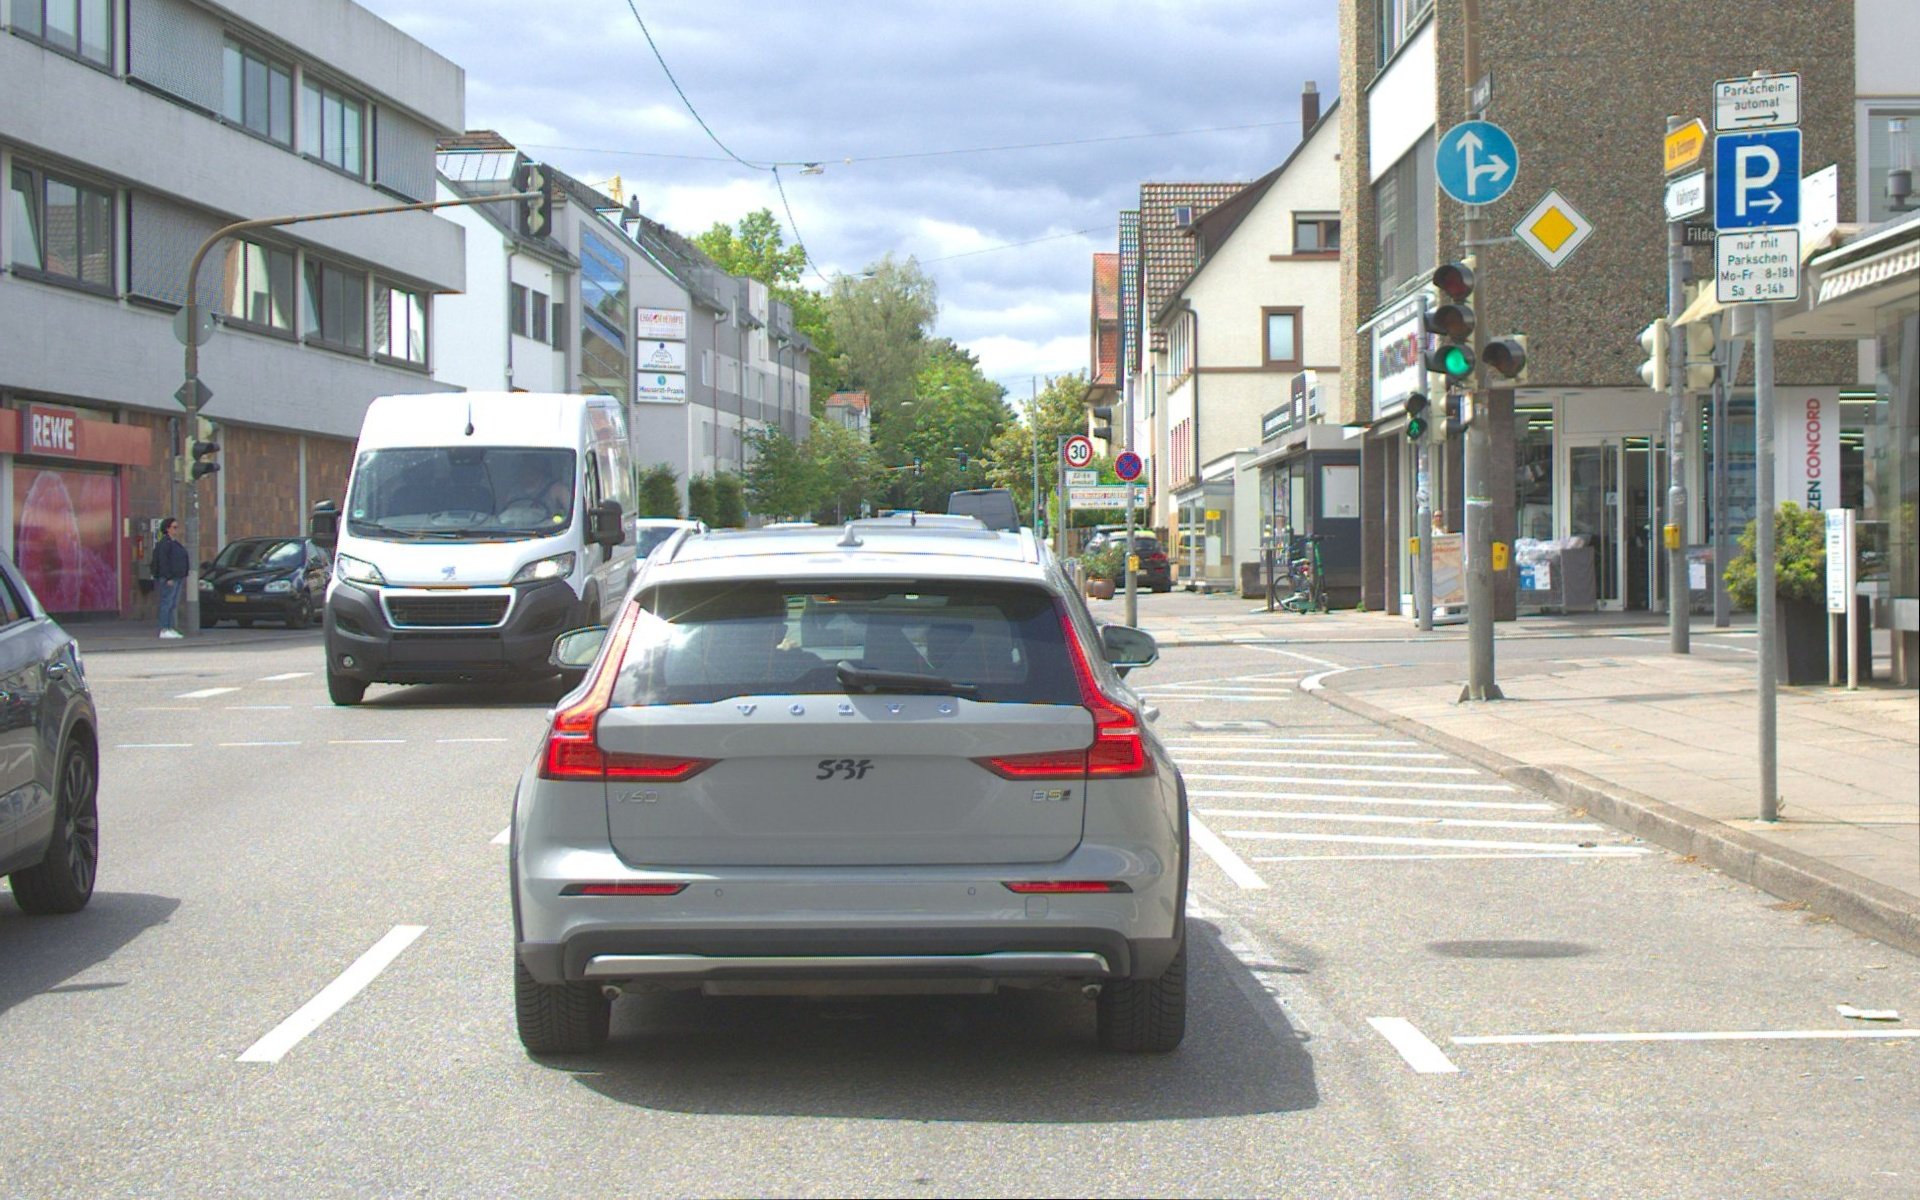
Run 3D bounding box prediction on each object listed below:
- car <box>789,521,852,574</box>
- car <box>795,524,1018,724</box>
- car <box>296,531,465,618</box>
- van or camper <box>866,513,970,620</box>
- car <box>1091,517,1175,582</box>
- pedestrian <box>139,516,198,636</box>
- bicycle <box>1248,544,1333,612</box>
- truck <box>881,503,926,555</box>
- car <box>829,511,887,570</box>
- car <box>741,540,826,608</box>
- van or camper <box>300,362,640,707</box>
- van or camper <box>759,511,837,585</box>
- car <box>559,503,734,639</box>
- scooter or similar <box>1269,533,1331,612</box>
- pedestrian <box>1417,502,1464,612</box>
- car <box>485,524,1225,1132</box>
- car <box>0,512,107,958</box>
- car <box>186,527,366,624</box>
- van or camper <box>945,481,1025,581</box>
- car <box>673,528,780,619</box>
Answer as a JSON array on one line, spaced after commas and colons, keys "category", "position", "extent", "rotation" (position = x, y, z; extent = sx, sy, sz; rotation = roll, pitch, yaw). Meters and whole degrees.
[{"category": "car", "position": [-4.161, -1.582, 102.945], "extent": [1.668, 1.548, 4.215], "rotation": [0, 1, 1]}, {"category": "car", "position": [-0.411, 0.163, 27.438], "extent": [1.650, 1.477, 3.607], "rotation": [0, 1, 0]}, {"category": "car", "position": [-10.097, -0.475, 60.213], "extent": [1.904, 1.438, 4.442], "rotation": [1, 1, 4]}, {"category": "van or camper", "position": [-0.753, -0.571, 62.258], "extent": [1.819, 1.828, 4.000], "rotation": [0, -1, 0]}, {"category": "car", "position": [4.171, -1.210, 83.456], "extent": [1.710, 1.459, 4.000], "rotation": [0, 0, -2]}, {"category": "pedestrian", "position": [-10.929, -0.339, 47.461], "extent": [0.619, 1.636, 0.660], "rotation": [-1, 1, 1]}, {"category": "bicycle", "position": [5.622, -0.384, 58.615], "extent": [0.554, 1.140, 2.301], "rotation": [-1, 1, -18]}, {"category": "truck", "position": [-3.181, -4.023, 195.395], "extent": [2.276, 2.876, 7.079], "rotation": [-1, 1, 1]}, {"category": "car", "position": [-3.373, -1.966, 114.179], "extent": [1.838, 1.911, 4.156], "rotation": [0, 1, 0]}, {"category": "car", "position": [-4.023, -0.605, 78.736], "extent": [1.683, 1.492, 3.967], "rotation": [-1, 0, 1]}, {"category": "van or camper", "position": [-3.926, -0.576, 28.500], "extent": [2.148, 2.547, 5.439], "rotation": [-1, 2, -2]}, {"category": "van or camper", "position": [-4.287, -1.419, 91.594], "extent": [1.864, 1.891, 4.693], "rotation": [0, 2, 0]}, {"category": "car", "position": [-4.055, -0.409, 45.052], "extent": [1.780, 1.634, 4.220], "rotation": [-2, 1, 1]}, {"category": "scooter or similar", "position": [5.498, -0.438, 55.577], "extent": [0.340, 1.249, 1.246], "rotation": [-3, 0, -26]}, {"category": "pedestrian", "position": [6.477, -0.578, 46.371], "extent": [0.504, 1.454, 0.500], "rotation": [-3, 0, 13]}, {"category": "car", "position": [-0.278, 0.524, 10.556], "extent": [1.836, 1.481, 4.000], "rotation": [0, 2, -1]}, {"category": "car", "position": [-4.156, 0.482, 11.433], "extent": [1.790, 1.506, 3.845], "rotation": [-1, 2, -2]}, {"category": "car", "position": [-10.855, -0.399, 54.812], "extent": [1.785, 1.459, 4.086], "rotation": [1, 1, 4]}, {"category": "van or camper", "position": [0.708, -1.907, 95.517], "extent": [2.123, 2.677, 4.781], "rotation": [-1, 1, 1]}, {"category": "car", "position": [-4.238, -0.491, 62.830], "extent": [1.789, 1.584, 4.101], "rotation": [-1, 1, -2]}]
